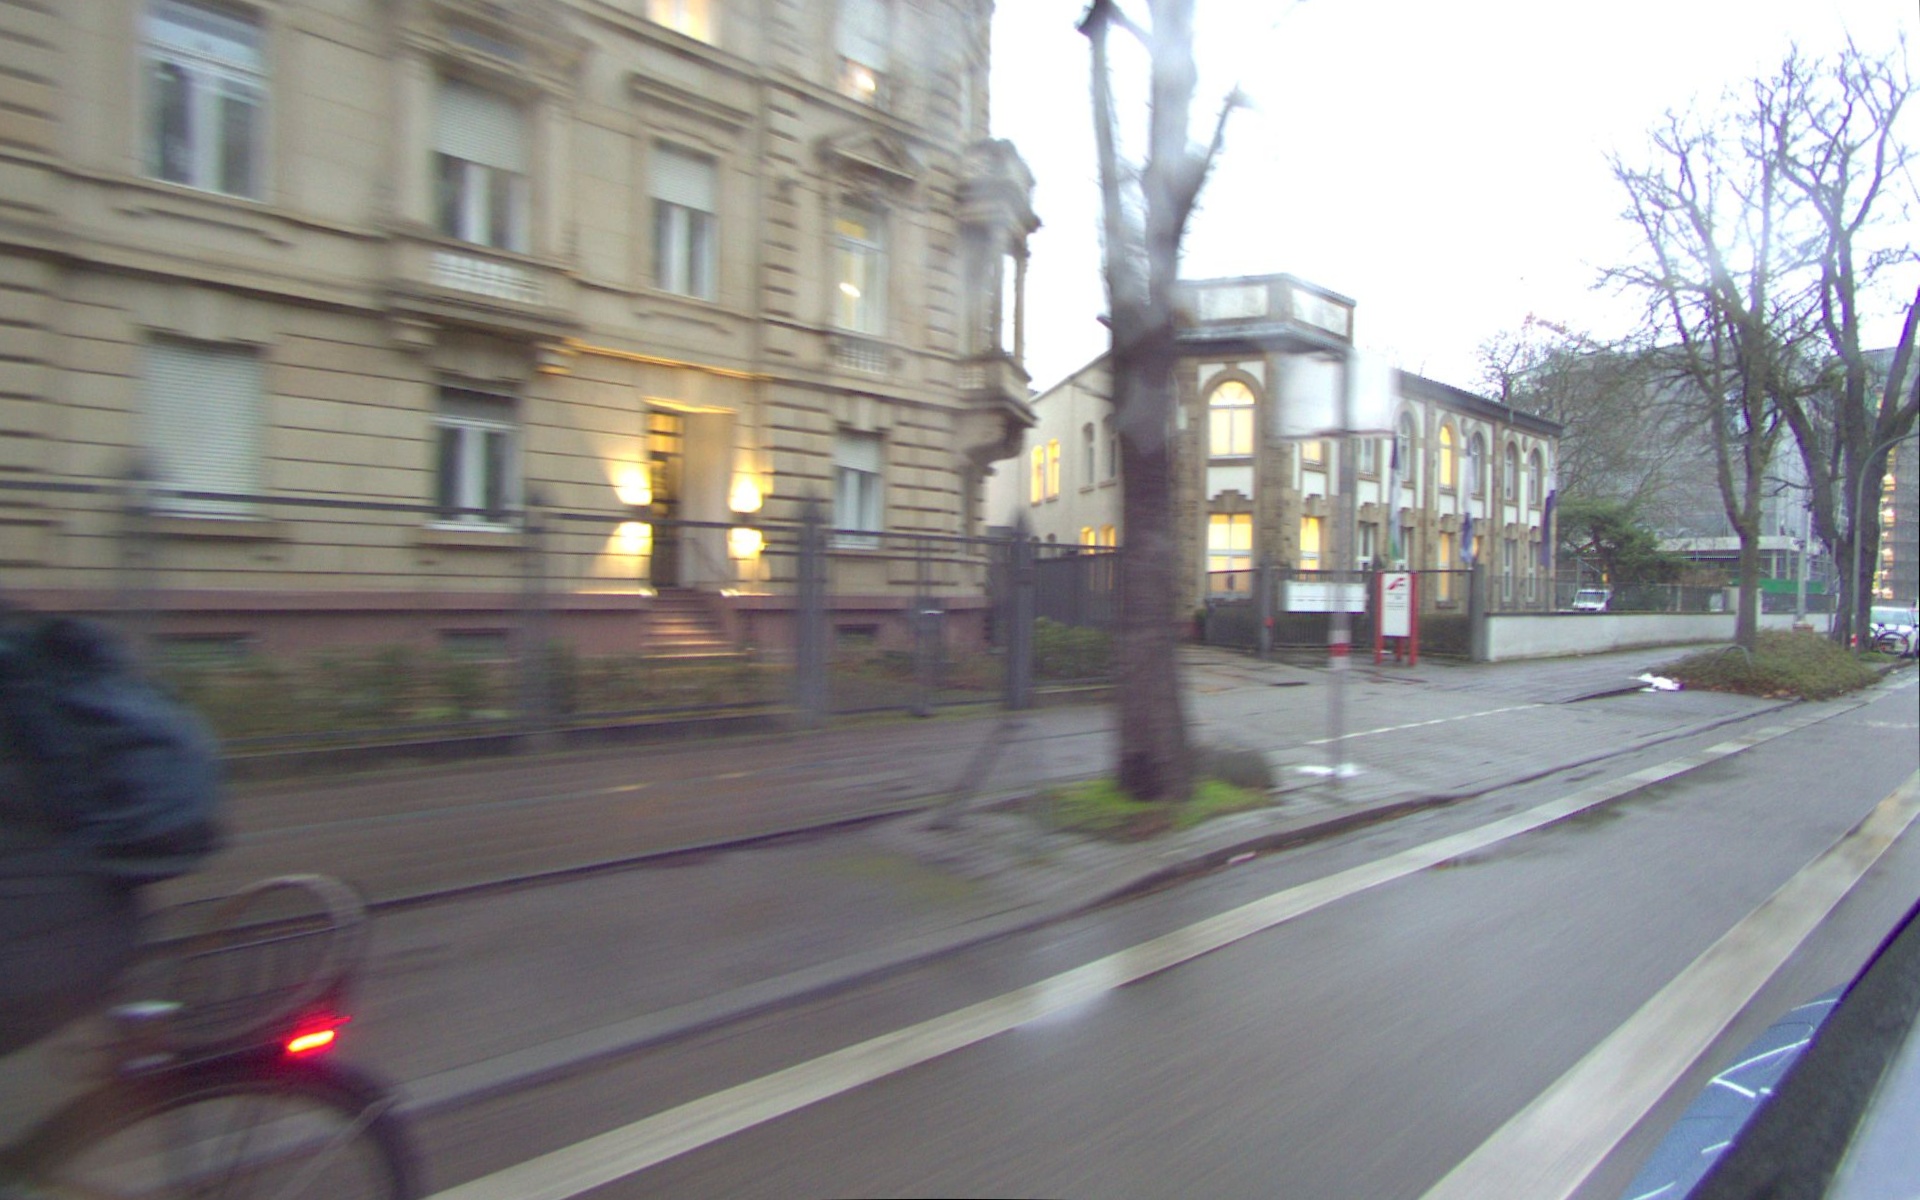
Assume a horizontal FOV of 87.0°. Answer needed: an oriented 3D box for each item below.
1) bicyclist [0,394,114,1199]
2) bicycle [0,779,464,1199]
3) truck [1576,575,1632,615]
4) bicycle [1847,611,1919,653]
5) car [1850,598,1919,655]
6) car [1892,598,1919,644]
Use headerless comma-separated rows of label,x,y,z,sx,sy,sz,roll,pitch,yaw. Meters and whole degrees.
bicyclist,-1.704,0.454,1.347,0.834,1.464,0.658,1,0,-38
bicycle,-1.809,0.939,1.294,1.992,1.110,0.709,1,1,-38
truck,44.772,-0.407,70.239,2.124,2.620,6.975,2,2,42
bicycle,25.835,0.883,28.110,0.651,1.084,1.716,1,1,-40
car,27.473,0.756,29.634,3.574,1.539,1.694,1,1,-42
car,34.019,0.733,35.544,3.512,1.542,1.645,1,0,-43
